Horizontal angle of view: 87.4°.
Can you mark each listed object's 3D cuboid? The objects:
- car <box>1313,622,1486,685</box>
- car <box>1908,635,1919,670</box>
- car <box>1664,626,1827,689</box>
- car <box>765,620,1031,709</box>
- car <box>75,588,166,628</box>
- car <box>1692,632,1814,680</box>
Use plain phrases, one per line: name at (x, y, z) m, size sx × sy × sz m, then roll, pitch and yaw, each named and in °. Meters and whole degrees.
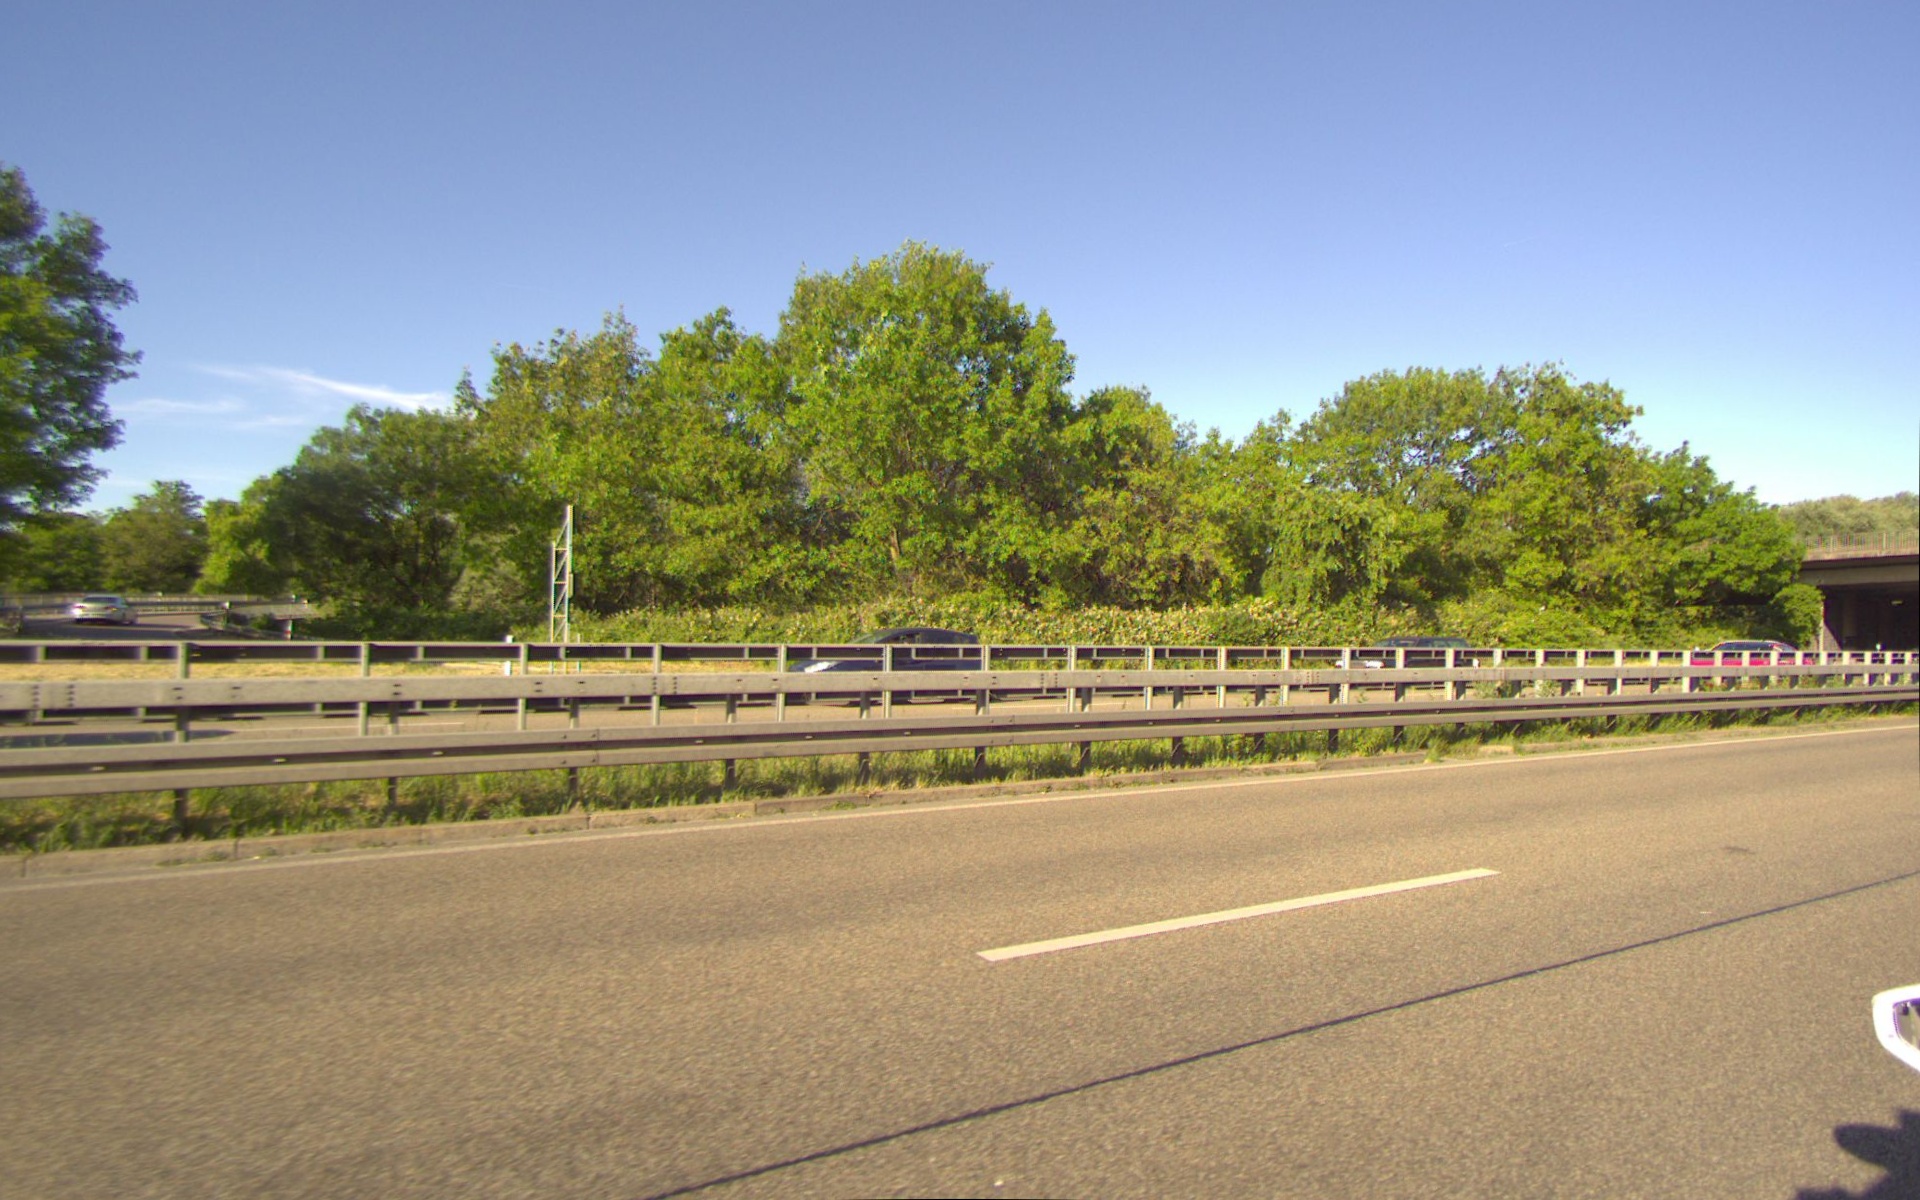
car at (12.685, 1.502, 28.926) m, size 4.967 × 1.662 × 1.985 m, roll 2°, pitch -1°, yaw -30°
car at (48.439, 2.601, 48.924) m, size 4.664 × 1.662 × 1.985 m, roll 2°, pitch -1°, yaw -29°
car at (22.342, 1.631, 28.544) m, size 4.664 × 1.662 × 1.985 m, roll 2°, pitch -4°, yaw -29°
car at (-1.136, 1.176, 19.130) m, size 4.664 × 1.497 × 1.985 m, roll 2°, pitch -1°, yaw -29°
car at (-41.158, 0.405, 49.397) m, size 1.970 × 1.828 × 4.697 m, roll 1°, pitch -1°, yaw -21°
car at (29.690, 2.069, 37.583) m, size 4.664 × 1.662 × 1.985 m, roll 2°, pitch -1°, yaw -29°
